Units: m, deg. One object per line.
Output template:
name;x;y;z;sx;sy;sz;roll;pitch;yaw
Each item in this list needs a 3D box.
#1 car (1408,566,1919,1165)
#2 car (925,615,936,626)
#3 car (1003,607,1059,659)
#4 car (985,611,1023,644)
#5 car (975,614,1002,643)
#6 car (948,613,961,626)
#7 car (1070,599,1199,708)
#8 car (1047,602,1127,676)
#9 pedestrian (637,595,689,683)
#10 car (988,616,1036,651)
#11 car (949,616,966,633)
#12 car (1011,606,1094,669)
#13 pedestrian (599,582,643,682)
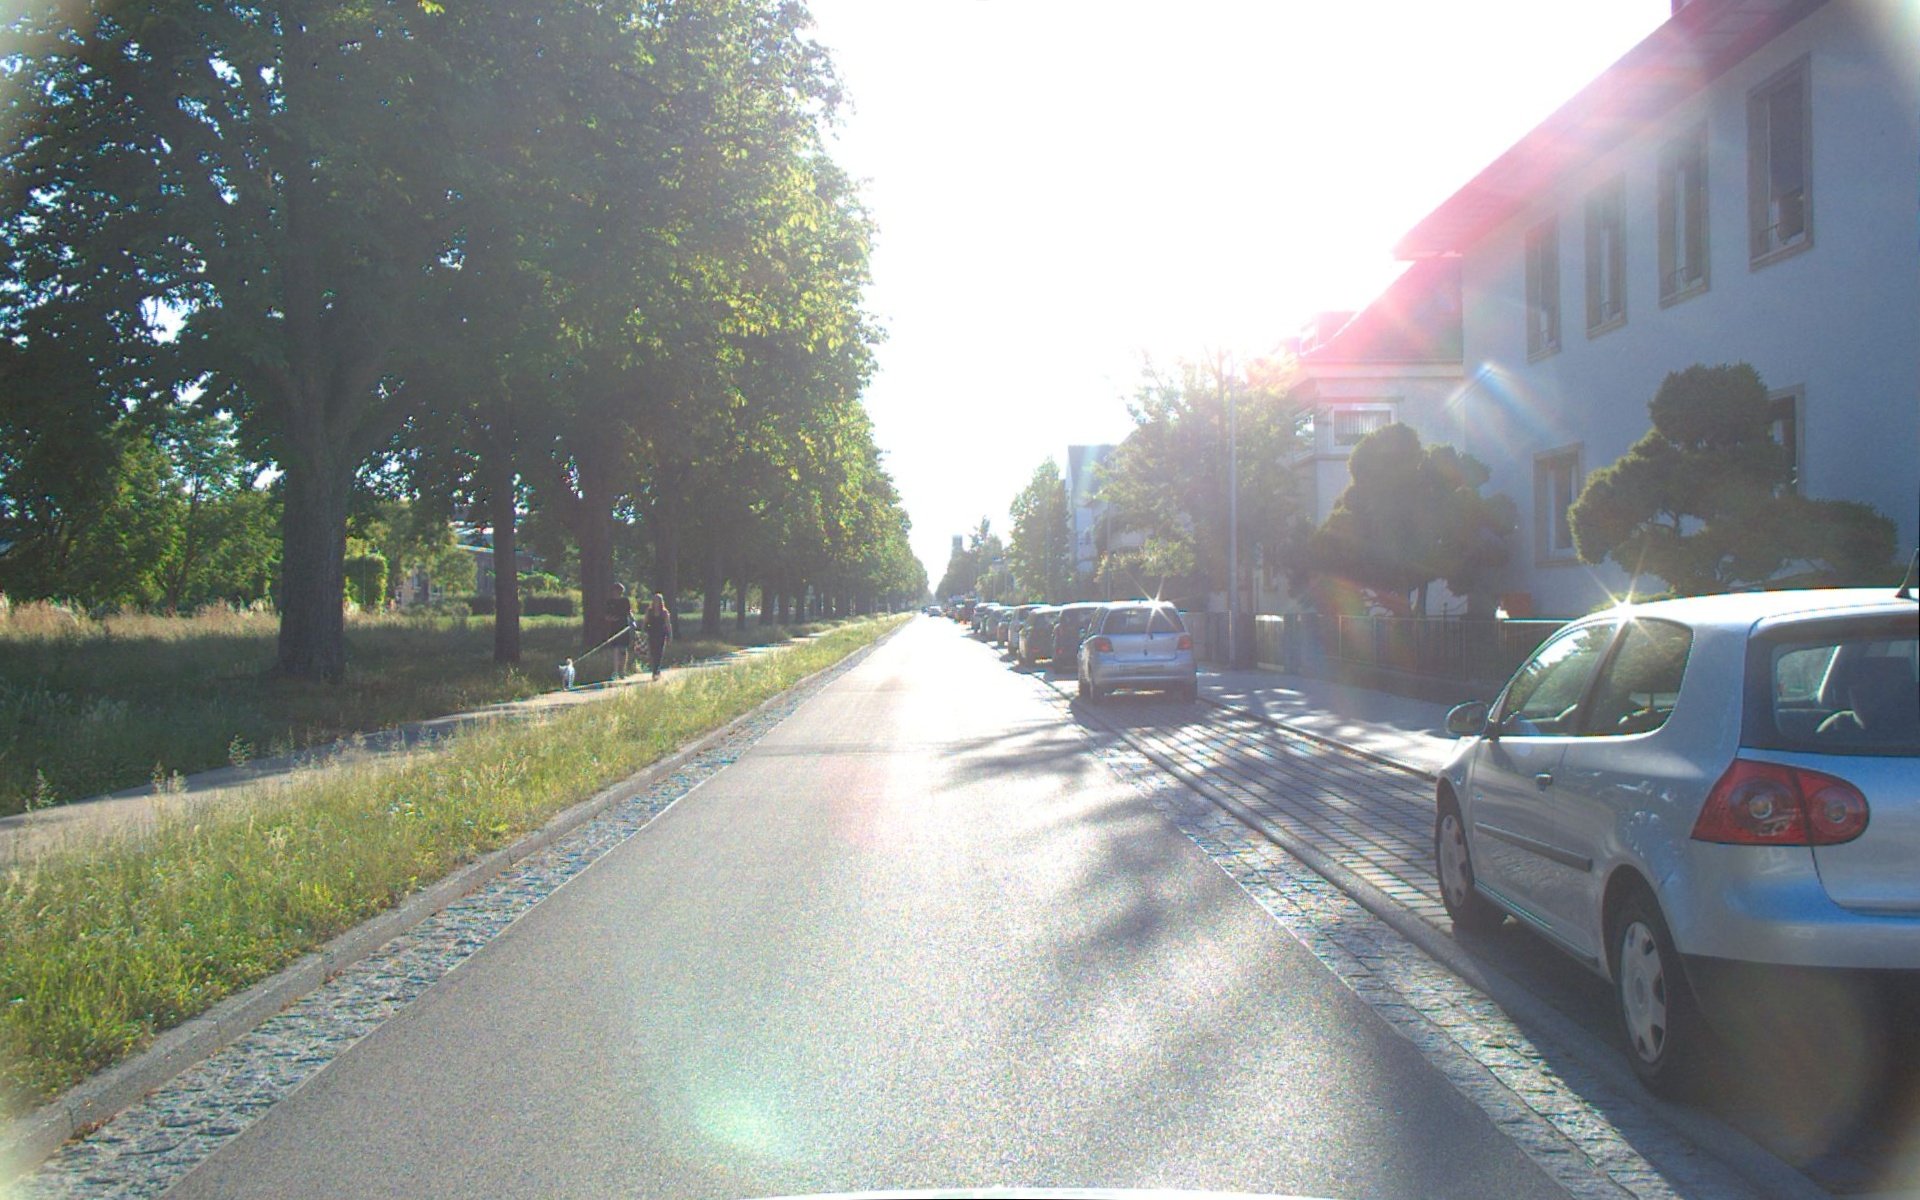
car;2.997;0.667;6.217;1.708;1.500;3.924;-4;0;4
car;-4.146;2.910;233.251;1.618;1.568;3.266;0;-1;-1
car;2.211;1.029;52.055;1.560;1.536;3.591;-1;-1;0
car;1.969;1.237;75.342;1.618;1.421;3.266;-1;-1;0
car;1.614;1.605;94.198;1.467;1.594;3.266;-1;-1;0
car;-0.666;2.322;200.547;1.618;1.568;3.266;0;-1;0
car;2.689;0.786;26.155;1.594;1.531;3.632;-3;0;0
car;2.794;0.851;37.007;1.623;1.520;3.717;-2;-1;3
pedestrian;-5.638;0.730;31.477;0.767;1.643;0.952;-1;0;2
car;1.929;1.239;62.040;1.658;1.270;3.497;-1;-1;0
car;-0.225;2.343;155.909;1.618;1.568;3.266;0;-1;0
car;2.322;0.947;42.544;1.702;1.474;4.195;-2;-1;-2
pedestrian;-6.388;0.594;31.214;0.611;1.863;0.886;-1;0;2
